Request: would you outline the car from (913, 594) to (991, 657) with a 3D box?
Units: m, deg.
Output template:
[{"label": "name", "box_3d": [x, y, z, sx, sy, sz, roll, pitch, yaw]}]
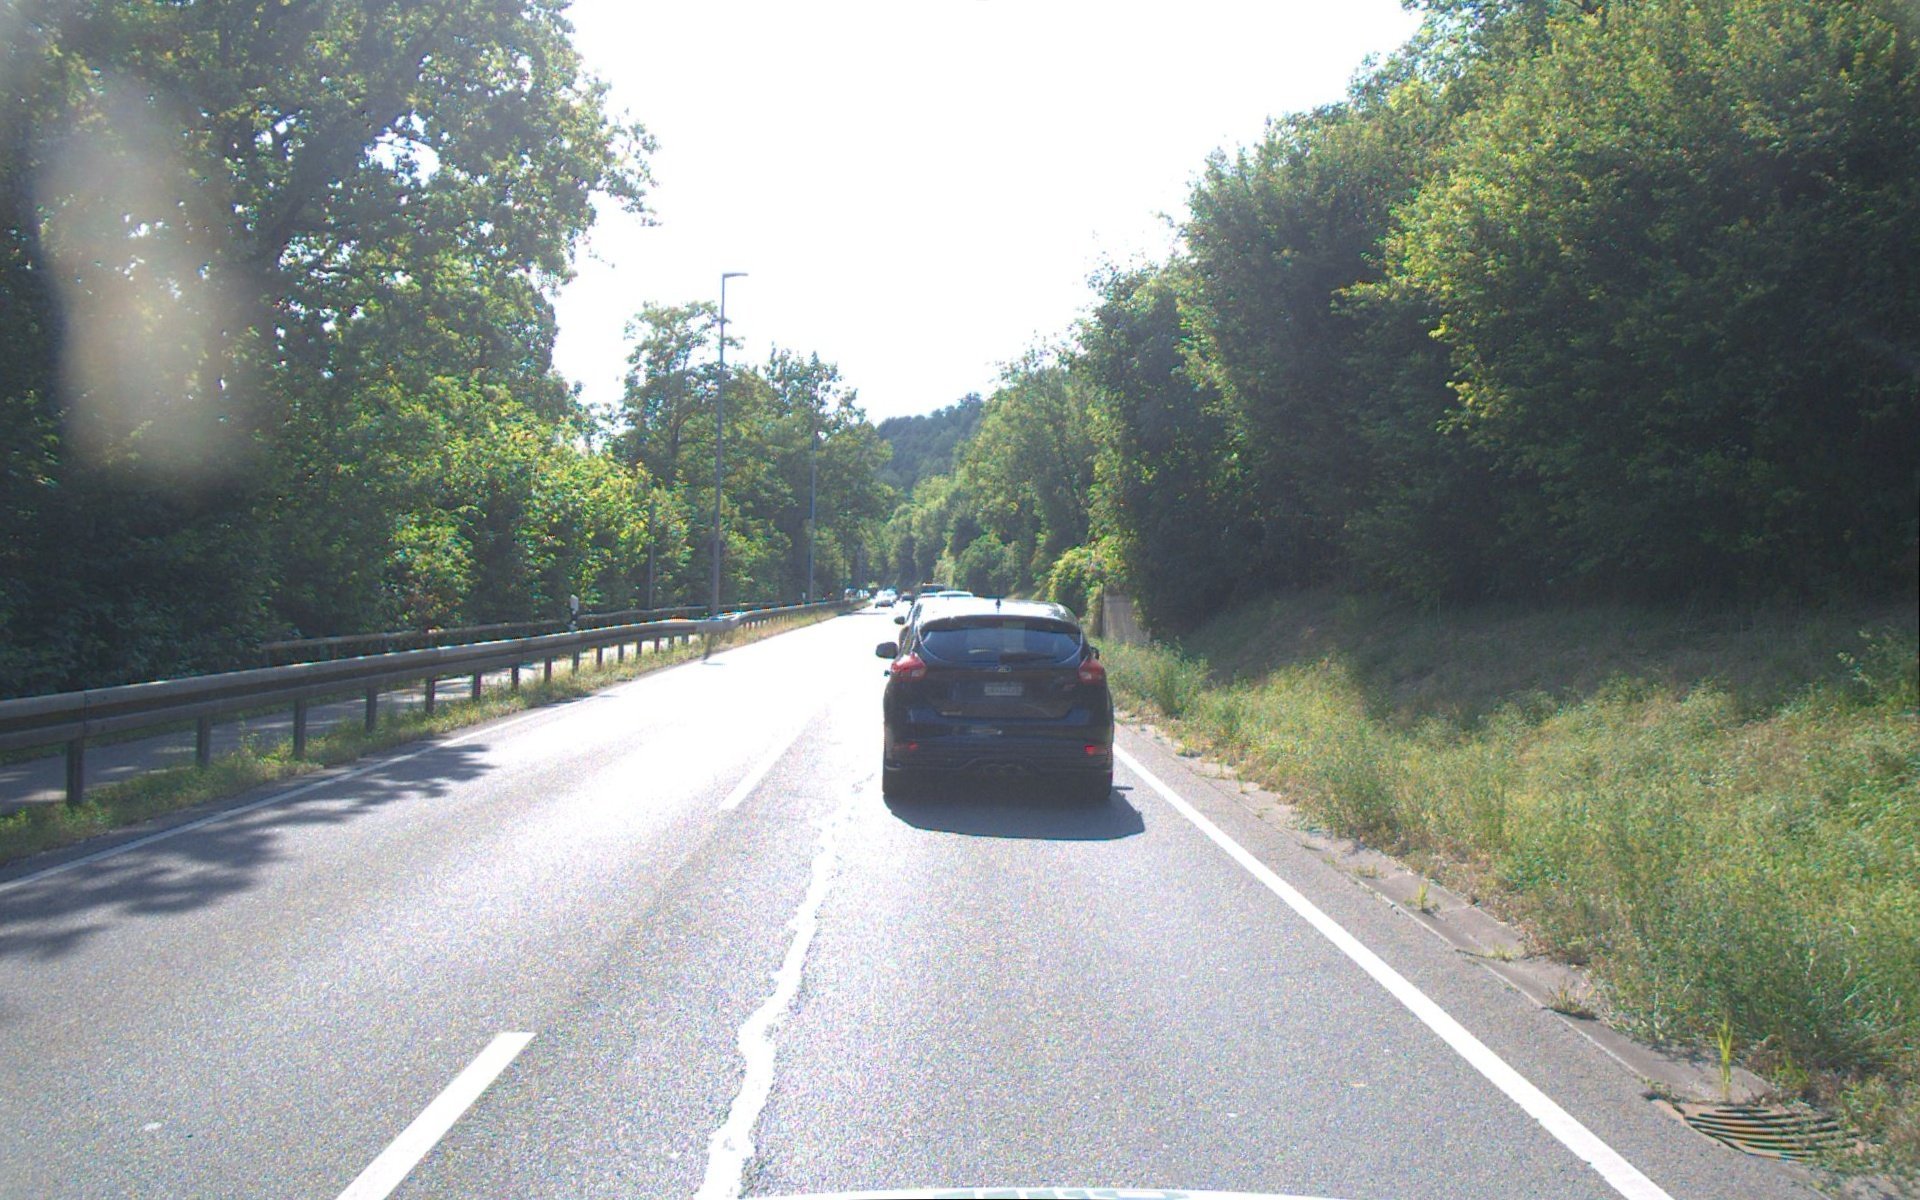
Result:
[{"label": "car", "box_3d": [-0.202, 0.568, 39.737, 1.768, 1.416, 3.999, 0, 0, -1]}]

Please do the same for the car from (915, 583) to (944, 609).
[{"label": "car", "box_3d": [-2.276, -0.298, 121.797, 1.827, 1.812, 3.996, 0, 0, -5]}]

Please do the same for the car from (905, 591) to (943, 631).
[{"label": "car", "box_3d": [-1.517, 0.451, 70.381, 1.597, 1.624, 3.999, 0, 0, -1]}]

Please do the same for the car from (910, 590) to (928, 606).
[{"label": "car", "box_3d": [-4.092, -0.222, 166.657, 1.782, 1.545, 3.999, 0, 0, -1]}]

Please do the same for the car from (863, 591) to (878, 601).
[{"label": "car", "box_3d": [-13.958, -0.561, 257.835, 1.956, 1.545, 3.993, 0, 0, -8]}]

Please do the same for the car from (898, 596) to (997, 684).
[{"label": "car", "box_3d": [-0.190, 0.659, 29.469, 1.627, 1.443, 4.000, 0, 0, 1]}]

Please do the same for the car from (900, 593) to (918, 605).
[{"label": "car", "box_3d": [-6.840, -0.179, 221.177, 1.956, 1.545, 3.992, 0, 0, -8]}]

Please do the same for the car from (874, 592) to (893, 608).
[{"label": "car", "box_3d": [-6.743, -0.012, 146.024, 1.590, 1.401, 4.046, -1, 0, -1]}]

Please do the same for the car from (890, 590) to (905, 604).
[{"label": "car", "box_3d": [-7.105, -0.348, 188.338, 1.647, 1.489, 4.196, 1, 0, -2]}]

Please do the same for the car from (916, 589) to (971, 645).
[{"label": "car", "box_3d": [-0.497, 0.484, 49.893, 1.597, 1.624, 3.999, 0, 0, -1]}]

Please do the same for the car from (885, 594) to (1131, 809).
[{"label": "car", "box_3d": [0.313, 0.716, 13.608, 1.704, 1.482, 3.999, 1, 0, -1]}]
